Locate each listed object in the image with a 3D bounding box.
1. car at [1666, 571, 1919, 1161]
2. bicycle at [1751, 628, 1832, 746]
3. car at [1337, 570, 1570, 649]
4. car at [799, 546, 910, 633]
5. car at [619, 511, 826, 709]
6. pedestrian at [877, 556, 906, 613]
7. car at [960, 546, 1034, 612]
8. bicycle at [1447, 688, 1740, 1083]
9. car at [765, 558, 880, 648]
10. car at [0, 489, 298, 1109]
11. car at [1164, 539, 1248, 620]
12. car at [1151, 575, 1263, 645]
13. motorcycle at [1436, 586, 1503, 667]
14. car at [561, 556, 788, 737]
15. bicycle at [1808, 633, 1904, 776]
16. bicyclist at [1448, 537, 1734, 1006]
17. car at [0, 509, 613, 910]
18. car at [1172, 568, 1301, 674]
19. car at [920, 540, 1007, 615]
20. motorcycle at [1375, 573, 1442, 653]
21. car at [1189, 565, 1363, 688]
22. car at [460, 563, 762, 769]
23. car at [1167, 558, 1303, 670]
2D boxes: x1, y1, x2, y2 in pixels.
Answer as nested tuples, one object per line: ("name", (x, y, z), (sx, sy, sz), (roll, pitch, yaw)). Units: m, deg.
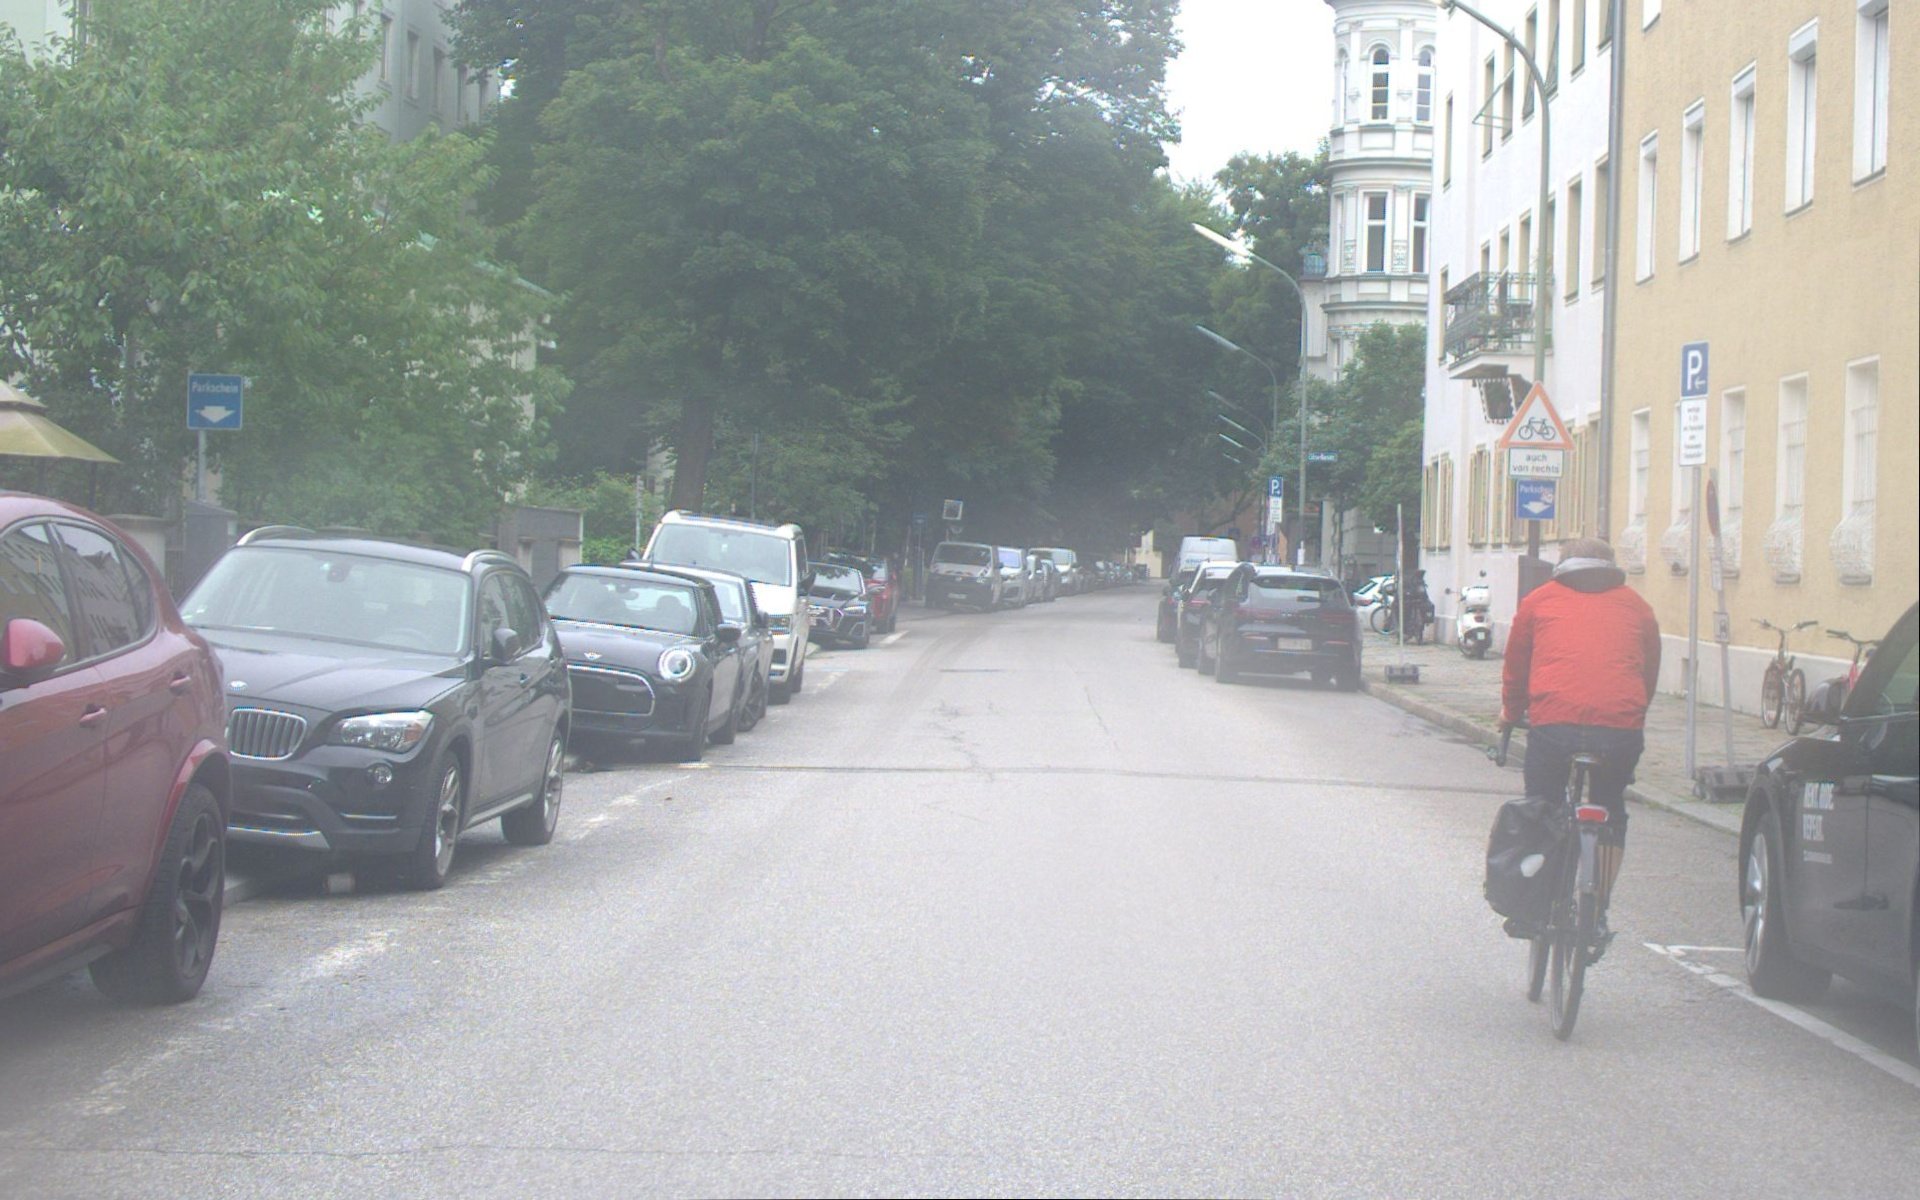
("car", (3.773, 0.773, 11.309), (1.994, 1.625, 5.099), (3, 1, 3))
("bicycle", (7.988, 0.820, 33.074), (0.342, 1.078, 1.814), (0, 0, 1))
("car", (10.957, 0.204, 76.582), (4.906, 1.526, 1.913), (2, 3, 2))
("car", (-2.097, -0.227, 69.471), (1.887, 1.585, 4.528), (3, 1, 1))
("car", (-2.611, 0.074, 38.960), (1.966, 1.983, 5.152), (3, 1, -1))
("pedestrian", (-1.887, -0.432, 94.775), (0.713, 1.543, 0.753), (4, 0, -1))
("car", (1.192, -0.679, 109.228), (2.184, 1.950, 5.166), (3, 1, 1))
("bicycle", (2.124, 0.918, 11.761), (0.672, 1.137, 2.011), (3, 0, 3))
("car", (-2.353, 0.018, 59.740), (1.807, 1.397, 4.924), (3, 1, -1))
("car", (-3.489, 0.483, 10.123), (1.902, 1.686, 4.808), (3, 1, 2))
("car", (6.923, -0.566, 97.167), (2.204, 2.201, 4.855), (1, 0, 3))
("car", (4.858, 0.169, 68.149), (2.000, 1.314, 4.595), (0, 1, 2))
("motorcycle", (8.214, 0.419, 55.474), (0.732, 1.235, 2.007), (3, 0, 1))
("car", (-2.662, 0.385, 32.988), (1.887, 1.538, 4.696), (2, 1, -2))
("bicycle", (7.606, 0.869, 29.223), (0.342, 1.131, 1.759), (2, 1, 1))
("bicyclist", (2.118, 0.554, 11.656), (0.754, 1.478, 0.981), (3, 0, 3))
("car", (-3.034, 0.446, 17.028), (1.845, 1.602, 4.742), (3, 1, 3))
("car", (4.253, 0.297, 53.359), (1.839, 1.526, 4.415), (1, 1, 3))
("car", (0.140, -0.643, 97.554), (2.248, 1.950, 5.453), (3, 1, 1))
("motorcycle", (8.373, 0.230, 64.263), (0.857, 1.428, 2.707), (2, 1, 0))
("car", (4.342, 0.323, 47.915), (1.860, 1.571, 4.900), (1, 1, -1))
("car", (-2.741, 0.474, 27.899), (1.859, 1.539, 4.187), (0, 1, 2))
("car", (4.654, 0.196, 58.650), (1.994, 1.701, 4.534), (4, 1, 2))
